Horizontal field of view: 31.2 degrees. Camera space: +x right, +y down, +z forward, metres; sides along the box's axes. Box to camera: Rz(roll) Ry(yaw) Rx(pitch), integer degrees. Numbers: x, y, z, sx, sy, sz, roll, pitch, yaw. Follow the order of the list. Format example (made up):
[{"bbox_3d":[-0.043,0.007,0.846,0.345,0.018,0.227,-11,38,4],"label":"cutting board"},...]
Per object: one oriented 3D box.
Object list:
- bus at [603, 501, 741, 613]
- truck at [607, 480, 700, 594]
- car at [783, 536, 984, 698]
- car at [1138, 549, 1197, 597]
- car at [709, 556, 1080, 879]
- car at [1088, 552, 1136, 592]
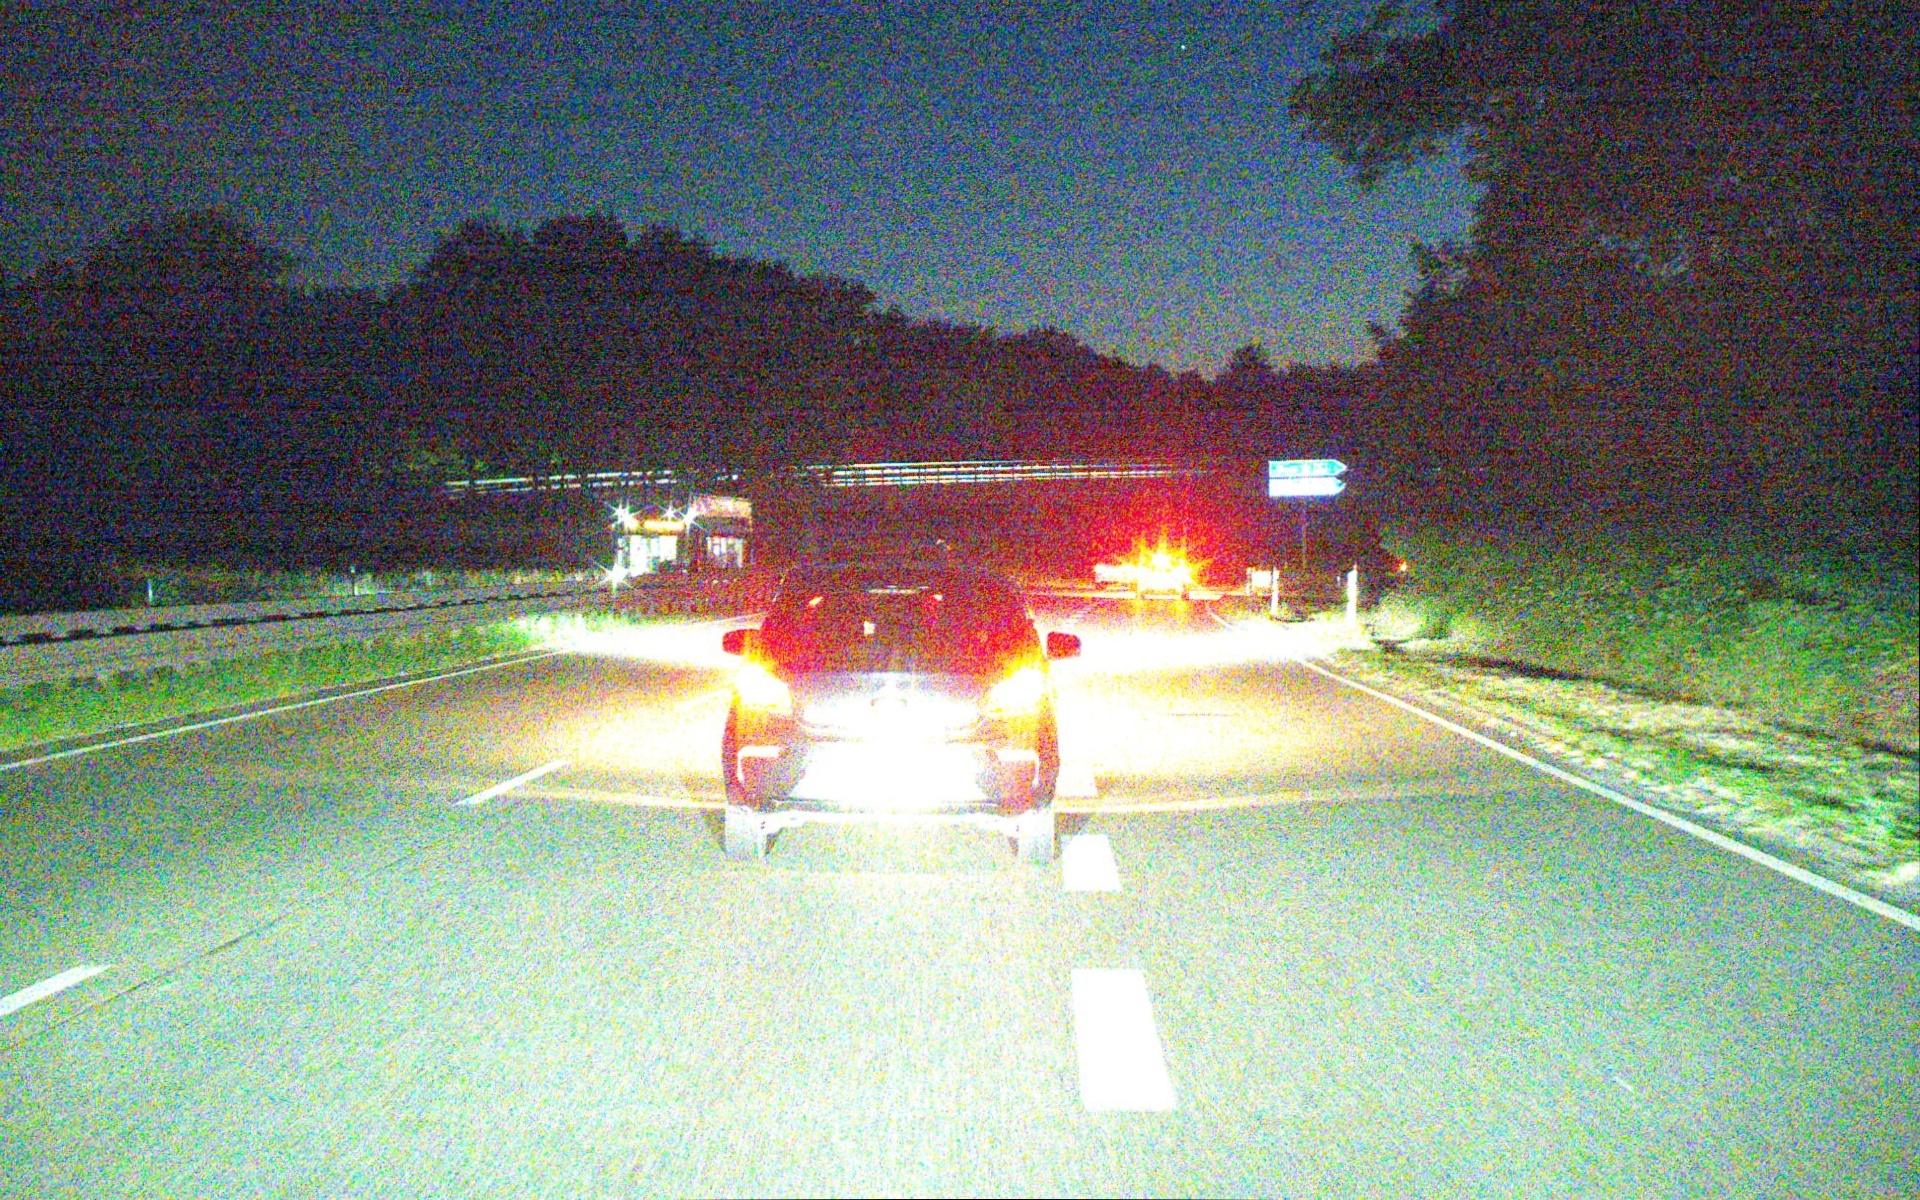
[{"bbox_3d":[-9.156,-1.449,110.762,2.924,3.376,12.307,0,1,2],"label":"bus"},{"bbox_3d":[-11.438,-2.354,128.801,2.676,4.163,5.868,0,1,3],"label":"truck"},{"bbox_3d":[-0.751,0.136,36.916,1.940,1.603,4.643,1,1,1],"label":"car"},{"bbox_3d":[7.009,-0.921,116.418,1.733,1.612,3.798,0,0,0],"label":"car"},{"bbox_3d":[-0.349,0.523,17.851,1.691,1.473,4.000,1,1,-1],"label":"car"},{"bbox_3d":[6.661,-1.212,151.212,1.951,1.533,4.240,-4,-1,2],"label":"car"}]
